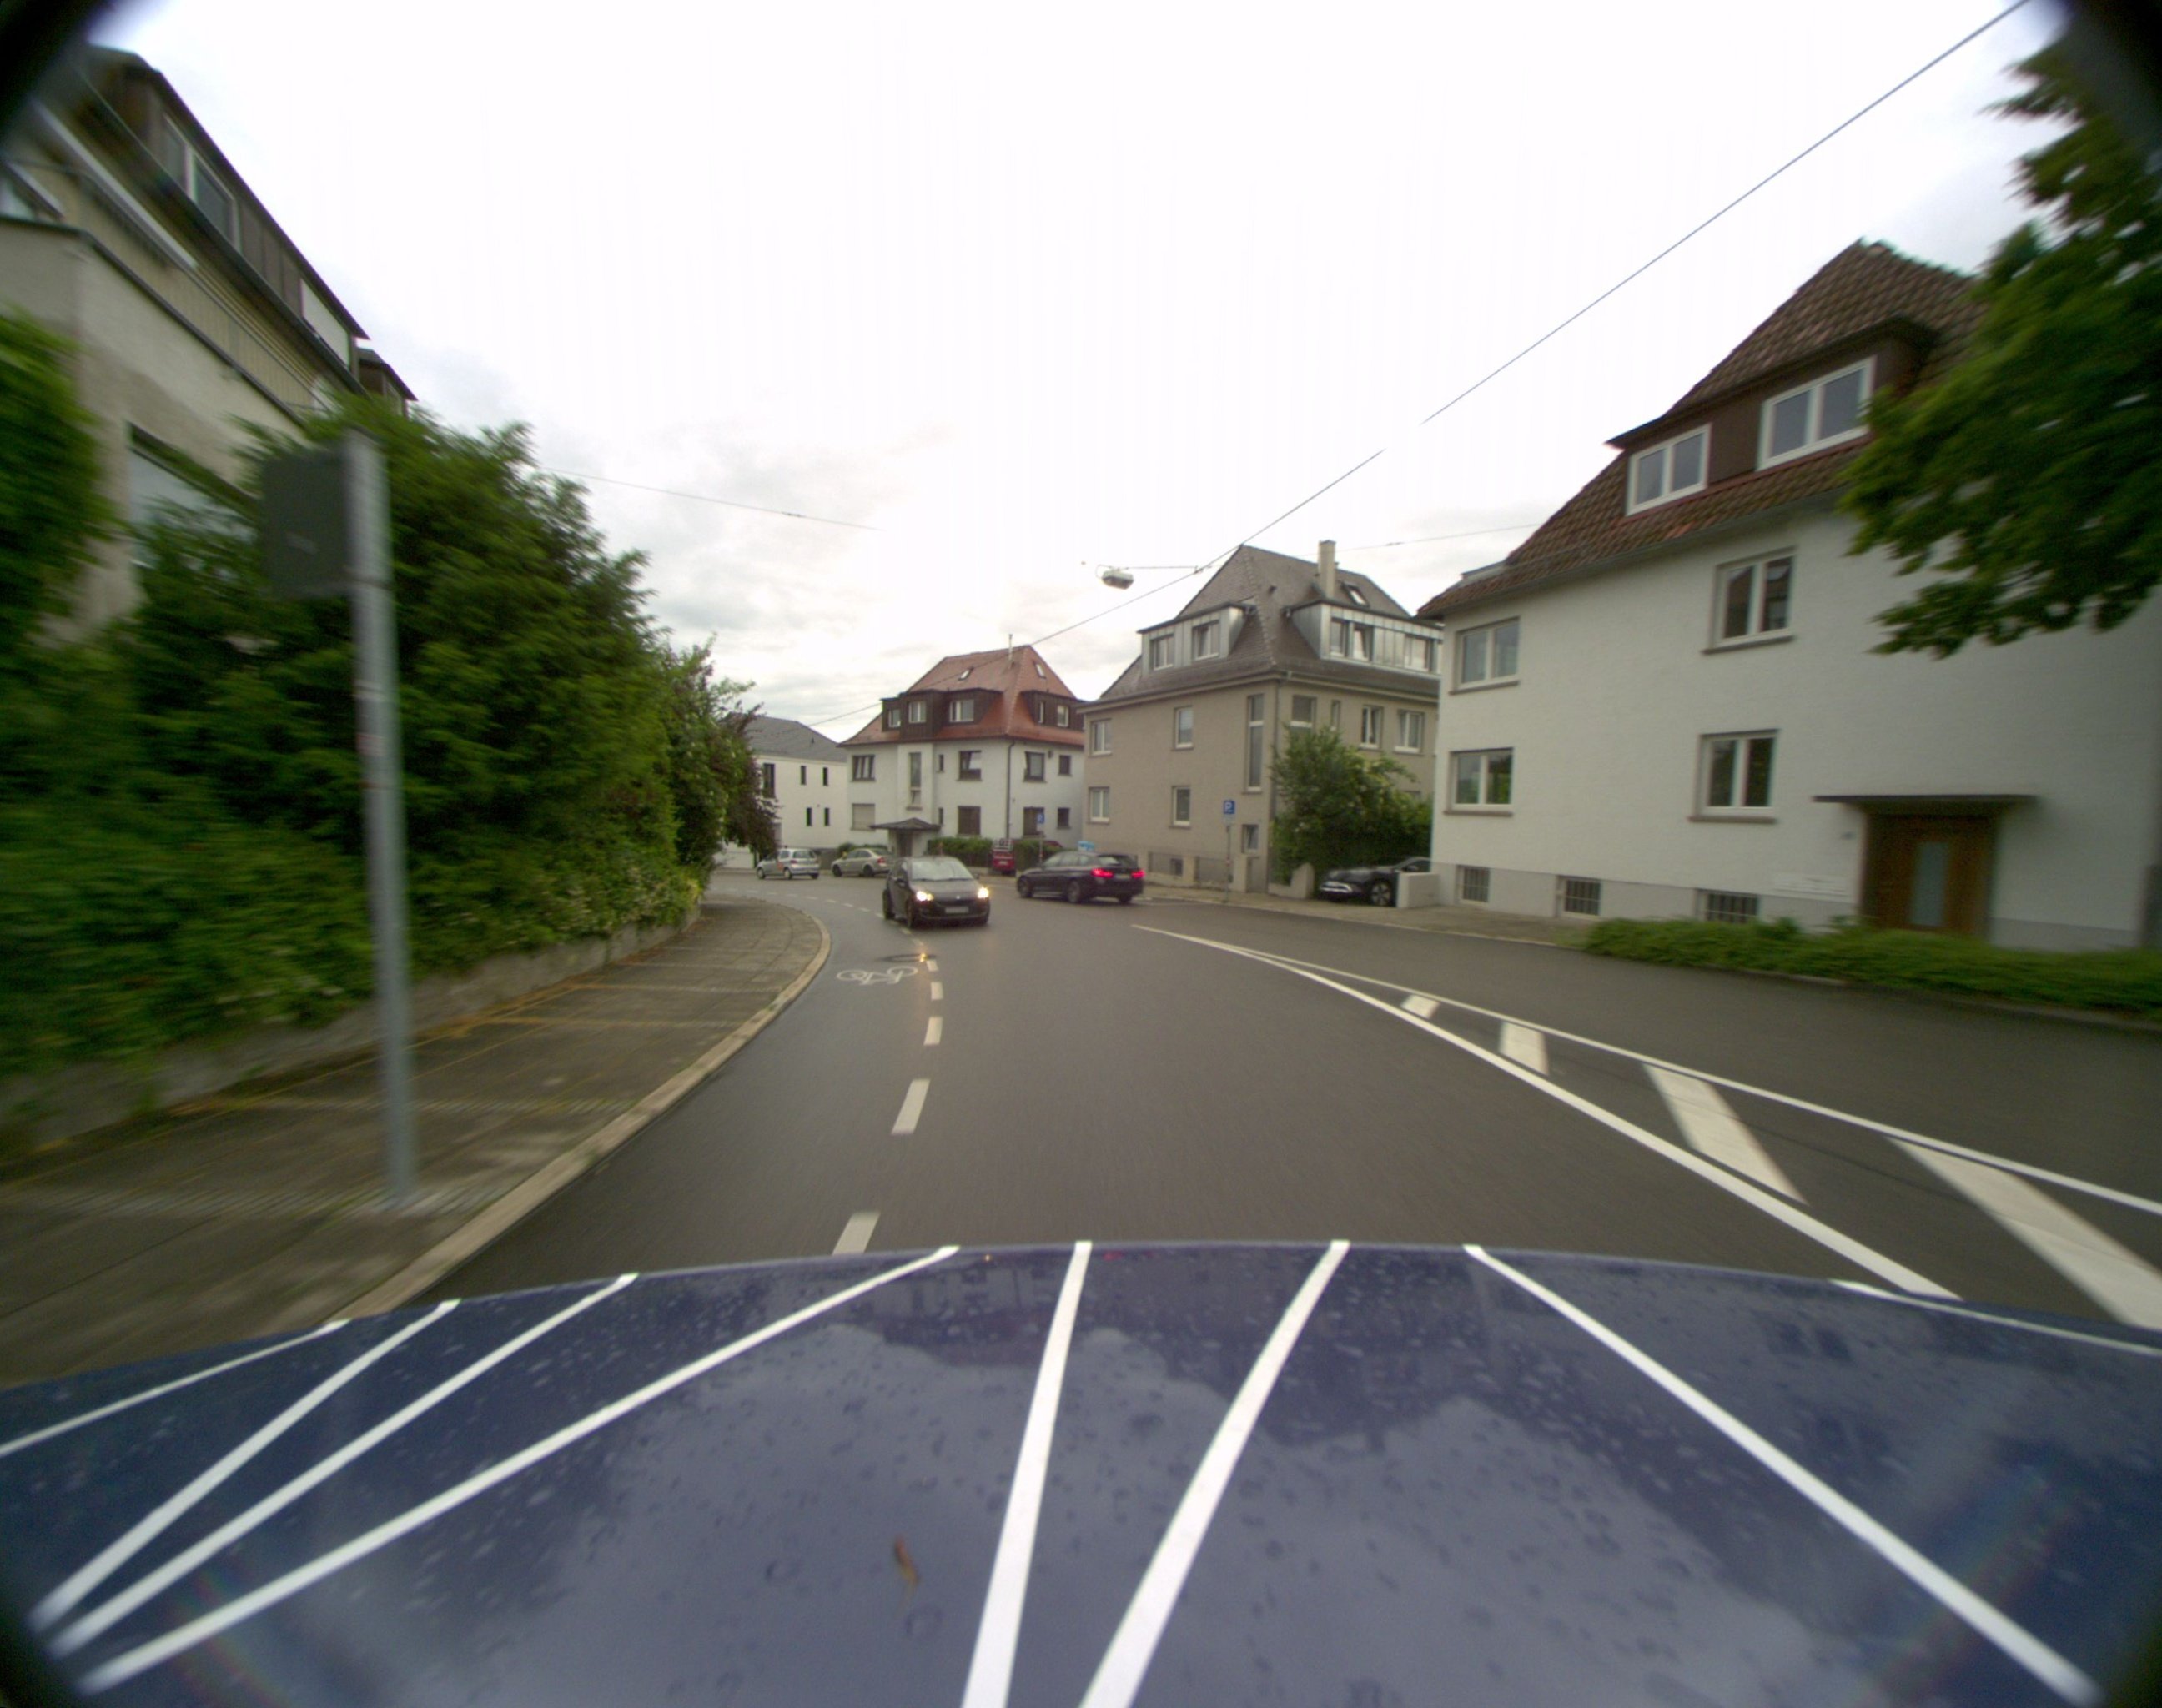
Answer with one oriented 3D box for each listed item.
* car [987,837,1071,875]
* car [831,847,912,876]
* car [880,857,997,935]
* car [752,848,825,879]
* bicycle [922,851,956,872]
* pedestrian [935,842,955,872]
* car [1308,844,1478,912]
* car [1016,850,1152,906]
[{"bbox_3d":[-2.612,0.124,38.922,1.994,1.812,4.009,0,-1,42],"label":"car"},{"bbox_3d":[-10.945,0.367,39.614,4.217,1.417,1.845,0,2,36],"label":"car"},{"bbox_3d":[-3.252,0.826,16.800,1.683,1.405,3.629,-3,2,-24],"label":"car"},{"bbox_3d":[-14.515,0.437,37.606,3.845,1.415,1.495,0,1,36],"label":"car"},{"bbox_3d":[-7.508,0.416,40.220,1.916,1.061,0.458,0,4,33],"label":"bicycle"},{"bbox_3d":[-7.313,0.145,40.848,0.493,1.569,0.949,0,4,31],"label":"pedestrian"},{"bbox_3d":[8.822,0.602,21.513,4.258,1.614,1.996,-2,2,-21],"label":"car"},{"bbox_3d":[-0.042,0.641,22.486,1.879,1.483,4.625,1,0,-31],"label":"car"}]
